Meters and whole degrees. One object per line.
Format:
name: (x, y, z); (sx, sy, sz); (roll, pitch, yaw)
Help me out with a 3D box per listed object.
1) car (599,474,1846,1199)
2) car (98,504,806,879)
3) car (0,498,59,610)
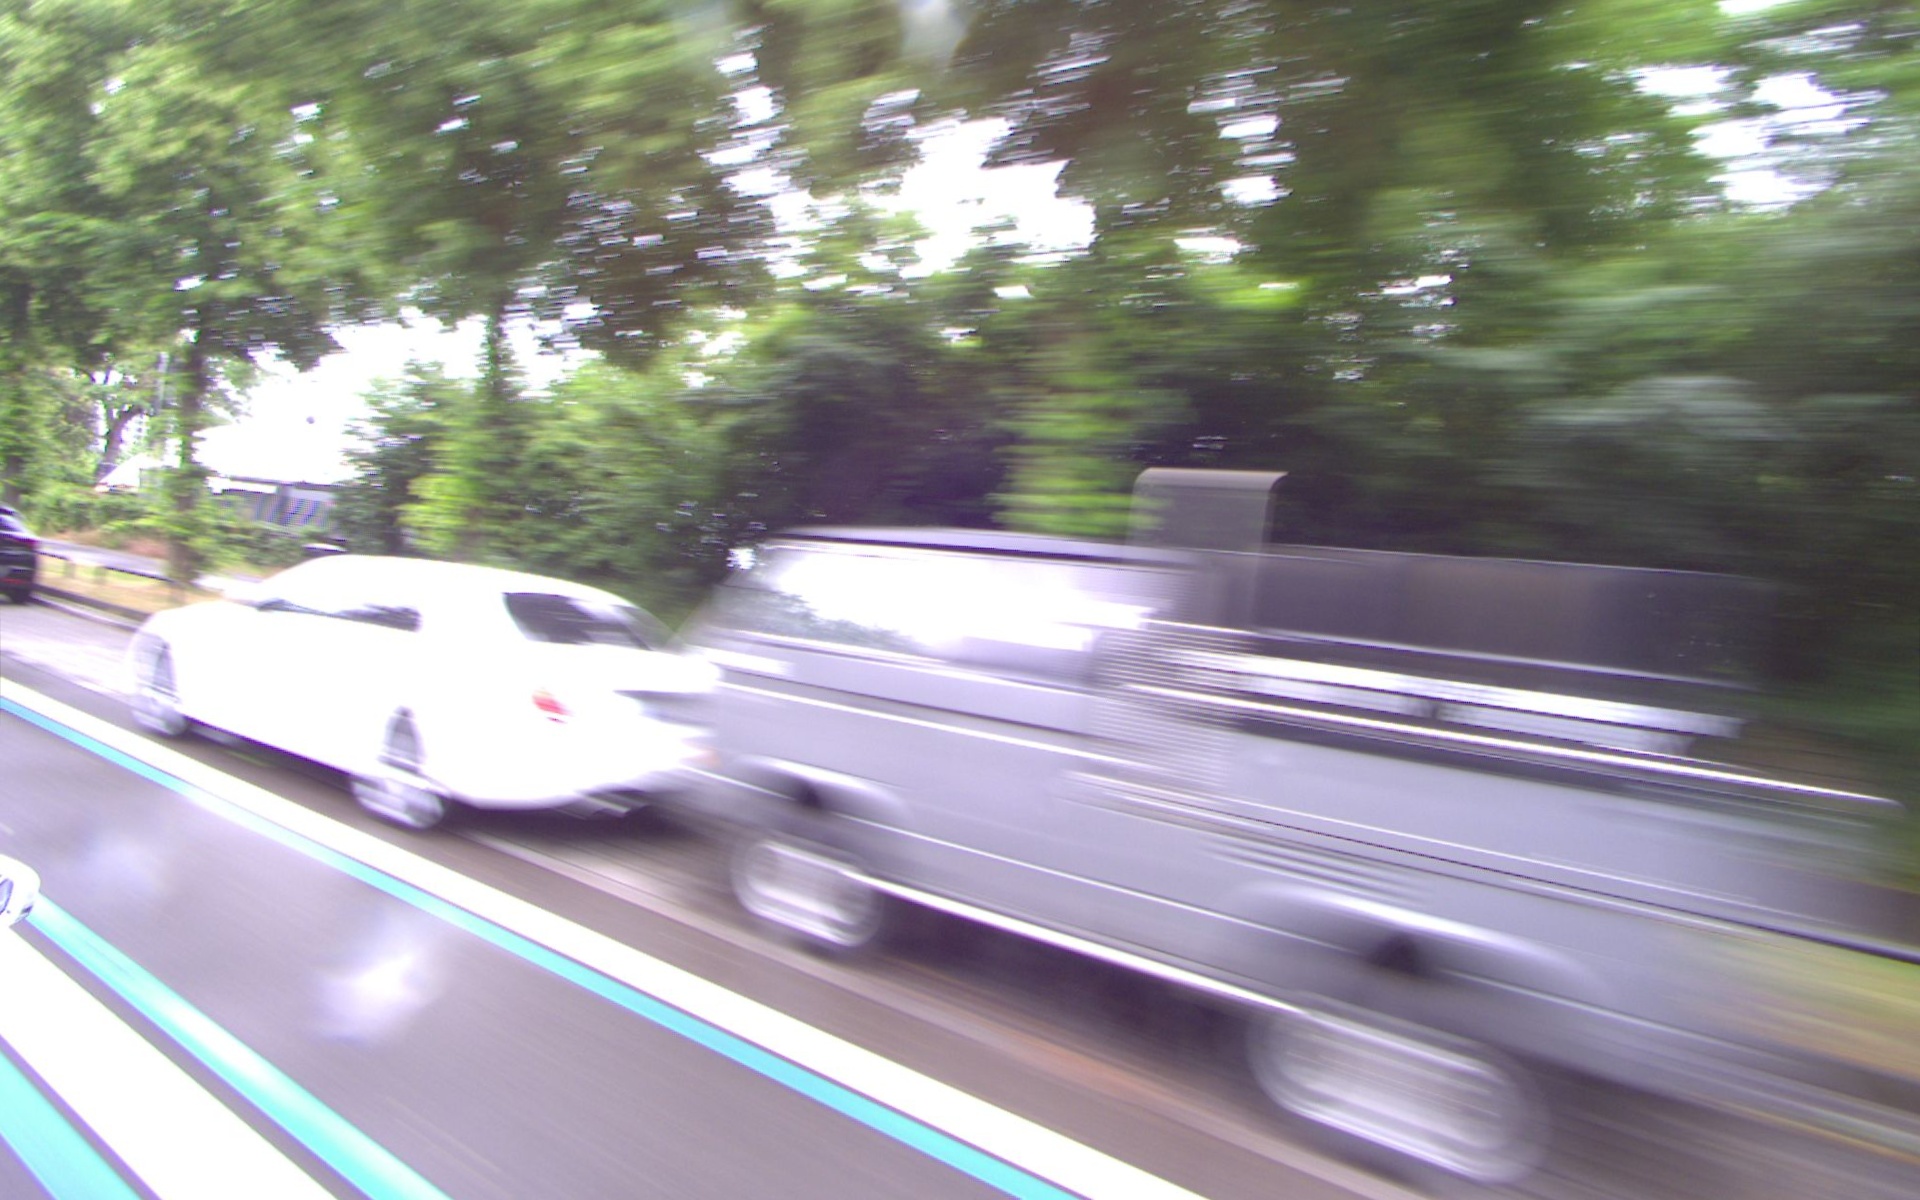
car: (0.718, 0.700, 4.613); (4.588, 2.046, 1.928); (7, -1, 34)
car: (-3.586, 0.417, 6.828); (4.806, 1.560, 1.794); (7, -2, 30)
car: (-15.154, -0.900, 14.648); (4.205, 1.480, 1.735); (7, -1, 31)
